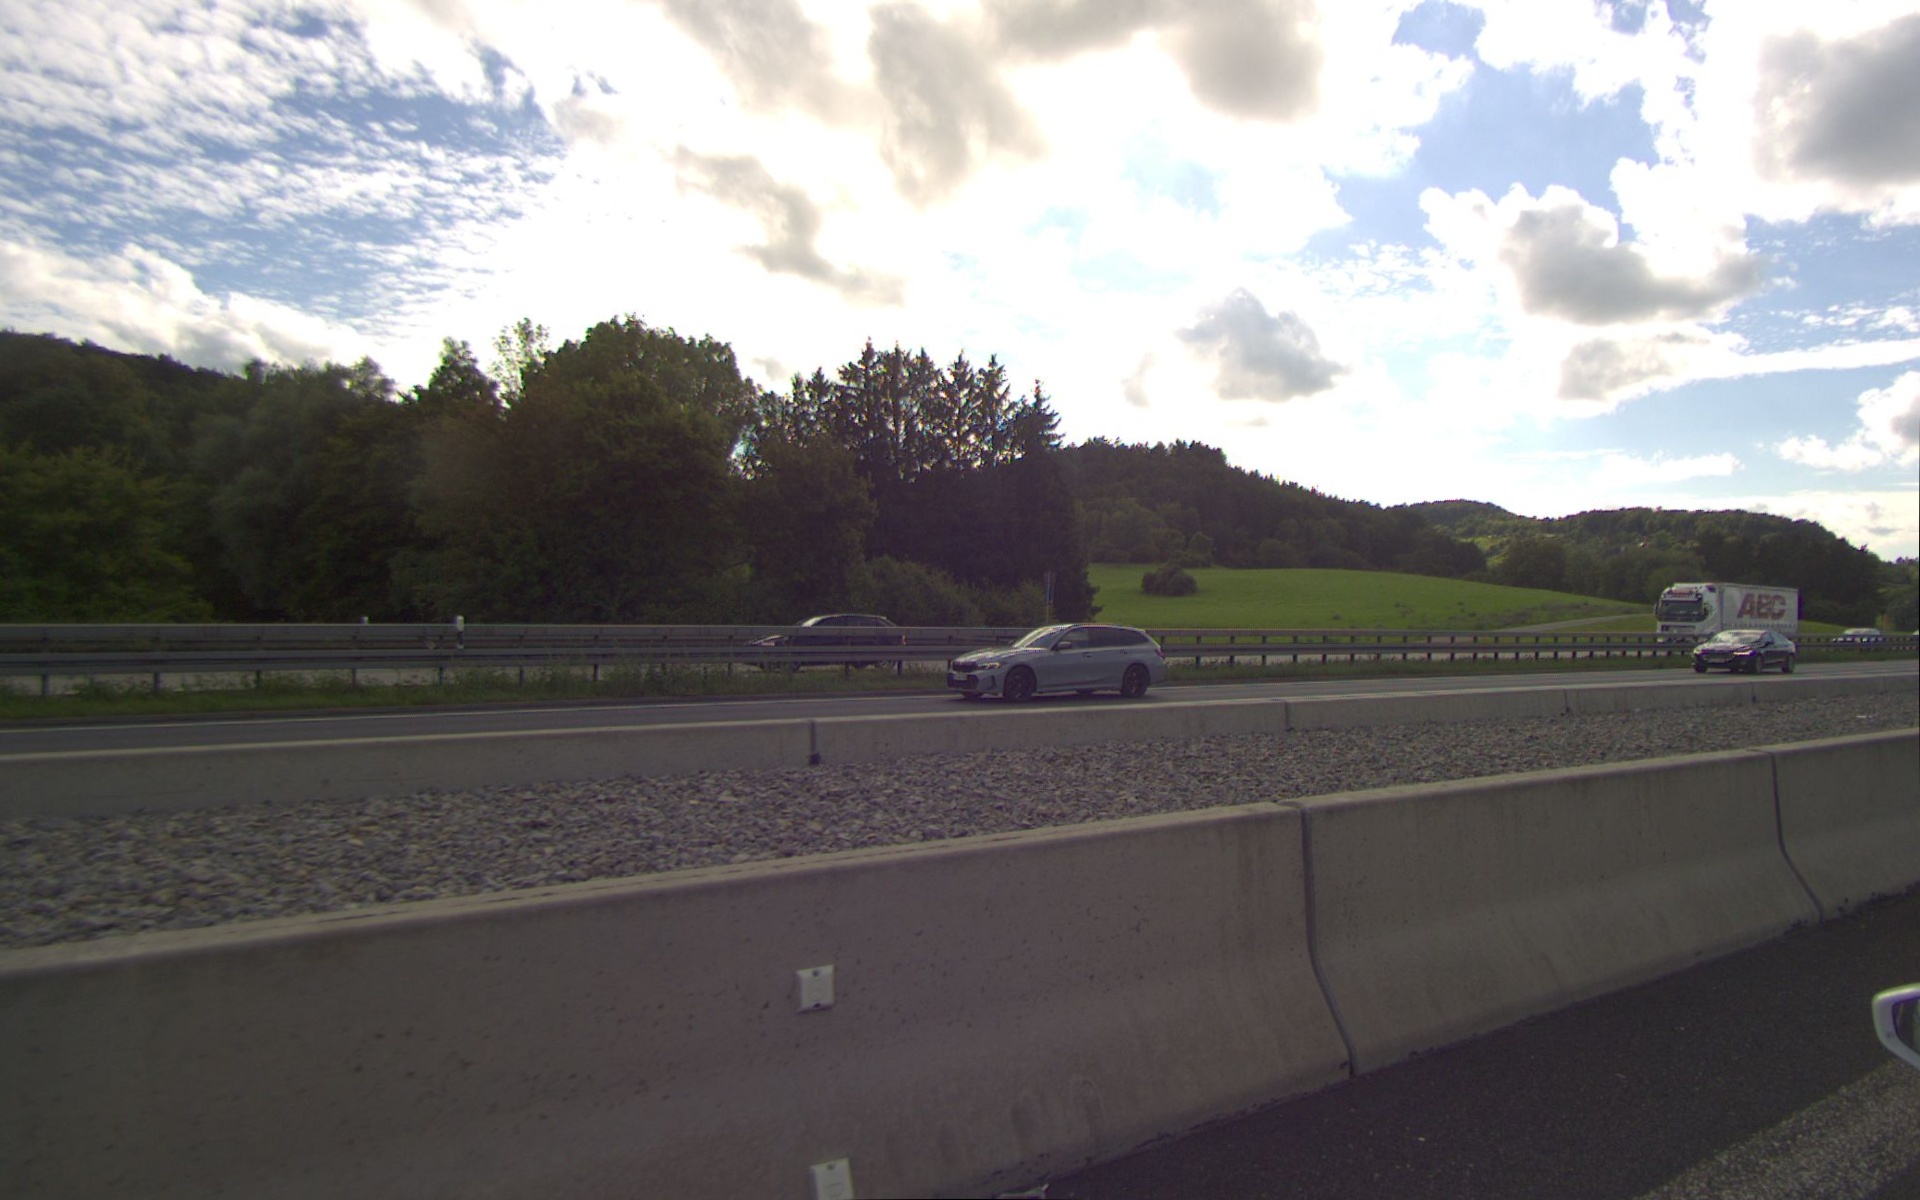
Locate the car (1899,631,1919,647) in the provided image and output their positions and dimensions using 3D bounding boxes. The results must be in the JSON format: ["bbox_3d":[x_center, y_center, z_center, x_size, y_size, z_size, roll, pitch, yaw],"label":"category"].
[{"bbox_3d":[97.790,3.992,102.464,4.251,1.639,1.793,2,-1,-30],"label":"car"}]

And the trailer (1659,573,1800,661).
[{"bbox_3d":[50.118,1.211,65.128,14.573,5.228,3.088,2,-1,-35],"label":"trailer"}]

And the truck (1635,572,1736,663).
[{"bbox_3d":[43.870,1.124,60.684,6.564,5.210,3.006,2,-1,-35],"label":"truck"}]

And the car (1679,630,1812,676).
[{"bbox_3d":[27.710,1.848,35.399,5.244,1.514,1.933,2,-1,-30],"label":"car"}]

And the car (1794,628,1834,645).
[{"bbox_3d":[85.883,3.710,101.040,4.251,1.639,1.793,2,-1,-30],"label":"car"}]

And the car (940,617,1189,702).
[{"bbox_3d":[2.149,1.148,19.972,4.938,1.514,1.637,2,-1,-30],"label":"car"}]
